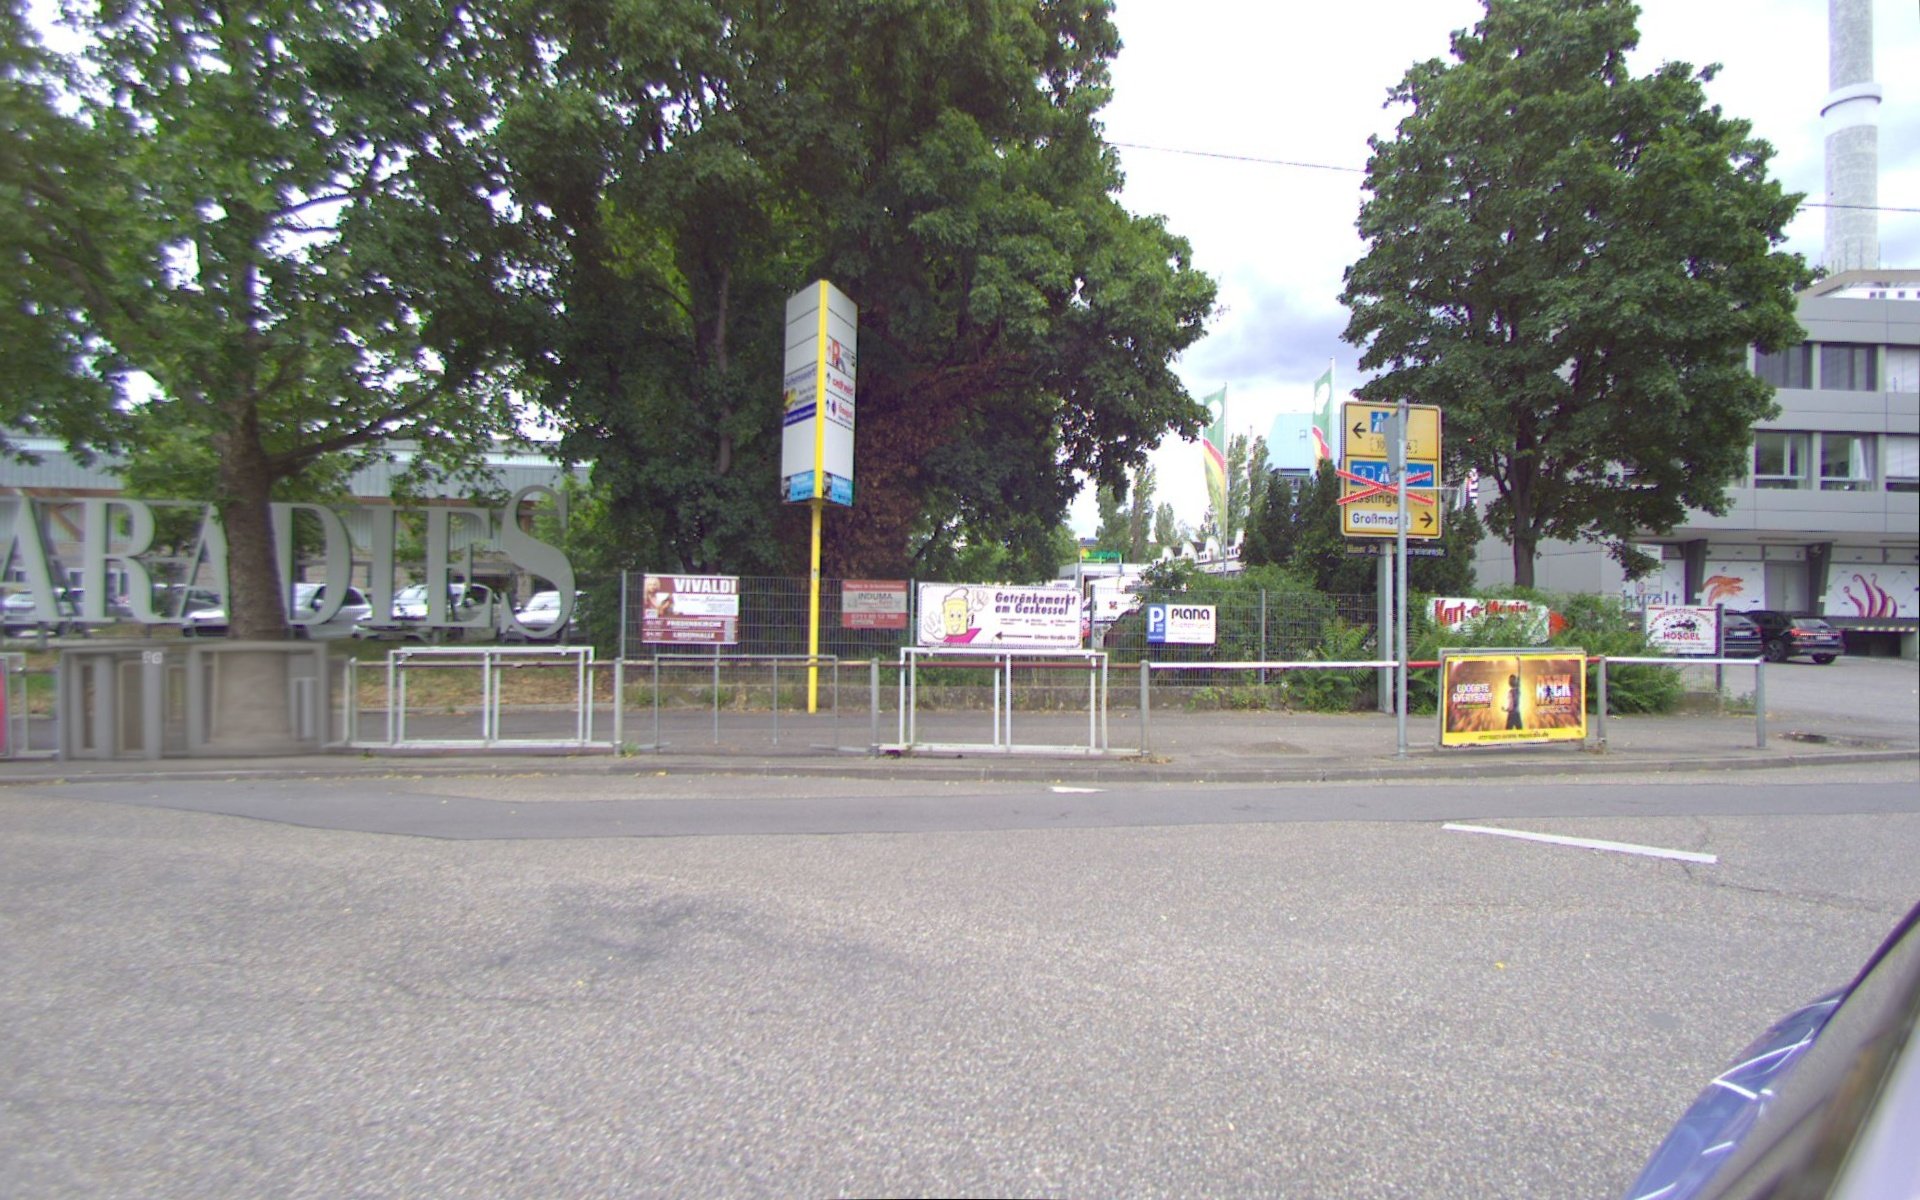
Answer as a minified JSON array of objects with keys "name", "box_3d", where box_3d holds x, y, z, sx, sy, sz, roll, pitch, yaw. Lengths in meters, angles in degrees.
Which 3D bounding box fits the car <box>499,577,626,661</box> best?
[{"name":"car","box_3d":[-8.428,0.411,21.794,1.559,1.634,4.004,1,-1,-7]}]

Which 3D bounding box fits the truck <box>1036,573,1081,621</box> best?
[{"name":"truck","box_3d":[9.107,-0.265,94.804,2.941,4.218,9.192,1,0,-2]}]

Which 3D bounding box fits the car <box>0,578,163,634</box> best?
[{"name":"car","box_3d":[-27.401,0.188,31.423,1.960,1.581,4.645,1,-1,-6]}]

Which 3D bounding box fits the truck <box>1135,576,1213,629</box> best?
[{"name":"truck","box_3d":[18.064,0.275,86.740,2.817,4.076,15.853,1,0,-2]}]

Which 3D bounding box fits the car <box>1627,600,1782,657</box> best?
[{"name":"car","box_3d":[24.434,0.885,33.447,1.804,1.638,4.465,1,1,0]}]

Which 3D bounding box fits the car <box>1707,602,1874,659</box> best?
[{"name":"car","box_3d":[27.276,0.955,33.464,1.804,1.638,4.424,1,1,-1]}]

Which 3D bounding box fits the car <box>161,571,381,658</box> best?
[{"name":"car","box_3d":[-14.408,0.323,21.544,1.847,1.634,4.529,1,-1,-5]}]

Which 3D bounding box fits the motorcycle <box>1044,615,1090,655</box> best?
[{"name":"motorcycle","box_3d":[3.166,1.022,30.212,0.996,1.102,2.099,1,-1,-4]}]

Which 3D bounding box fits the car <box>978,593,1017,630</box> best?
[{"name":"car","box_3d":[2.680,0.809,74.093,2.265,2.511,6.929,1,0,-3]}]

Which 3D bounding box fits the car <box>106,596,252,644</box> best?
[{"name":"car","box_3d":[-27.826,0.690,36.274,1.960,1.581,4.645,1,-1,-6]}]

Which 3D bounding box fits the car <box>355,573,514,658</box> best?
[{"name":"car","box_3d":[-11.085,0.336,21.678,1.559,1.634,4.322,1,-1,-7]}]

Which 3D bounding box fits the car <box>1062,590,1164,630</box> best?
[{"name":"car","box_3d":[11.199,0.739,74.337,7.017,2.767,2.244,1,-1,-1]}]
